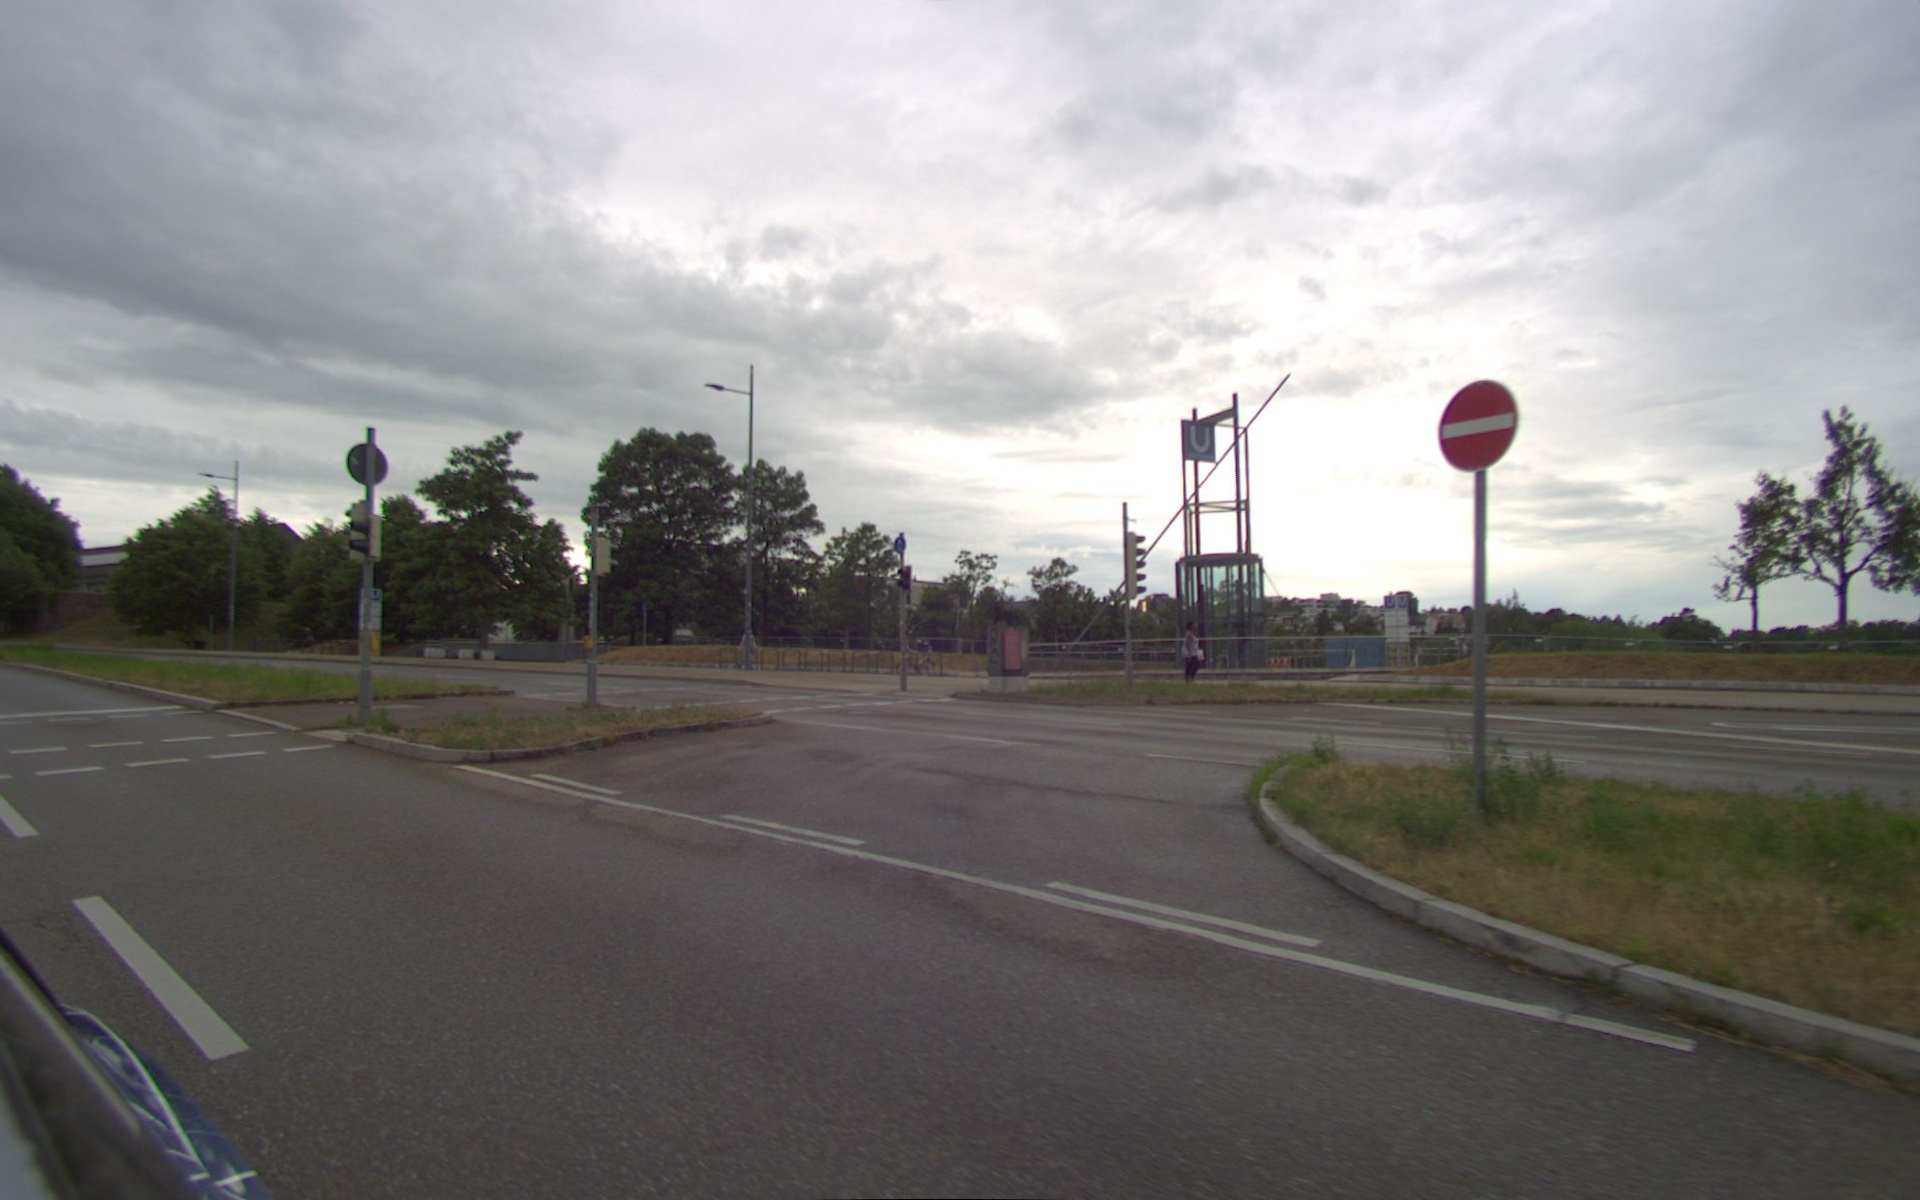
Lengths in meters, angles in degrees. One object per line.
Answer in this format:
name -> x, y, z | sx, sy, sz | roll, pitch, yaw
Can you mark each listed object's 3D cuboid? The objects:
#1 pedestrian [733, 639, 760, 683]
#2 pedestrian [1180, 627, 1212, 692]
pedestrian -> -7.998, 2.297, 37.869 | 0.811, 1.606, 0.608 | -5, -5, 36
pedestrian -> 6.032, 1.530, 25.855 | 0.668, 1.606, 0.817 | -3, -4, 17
